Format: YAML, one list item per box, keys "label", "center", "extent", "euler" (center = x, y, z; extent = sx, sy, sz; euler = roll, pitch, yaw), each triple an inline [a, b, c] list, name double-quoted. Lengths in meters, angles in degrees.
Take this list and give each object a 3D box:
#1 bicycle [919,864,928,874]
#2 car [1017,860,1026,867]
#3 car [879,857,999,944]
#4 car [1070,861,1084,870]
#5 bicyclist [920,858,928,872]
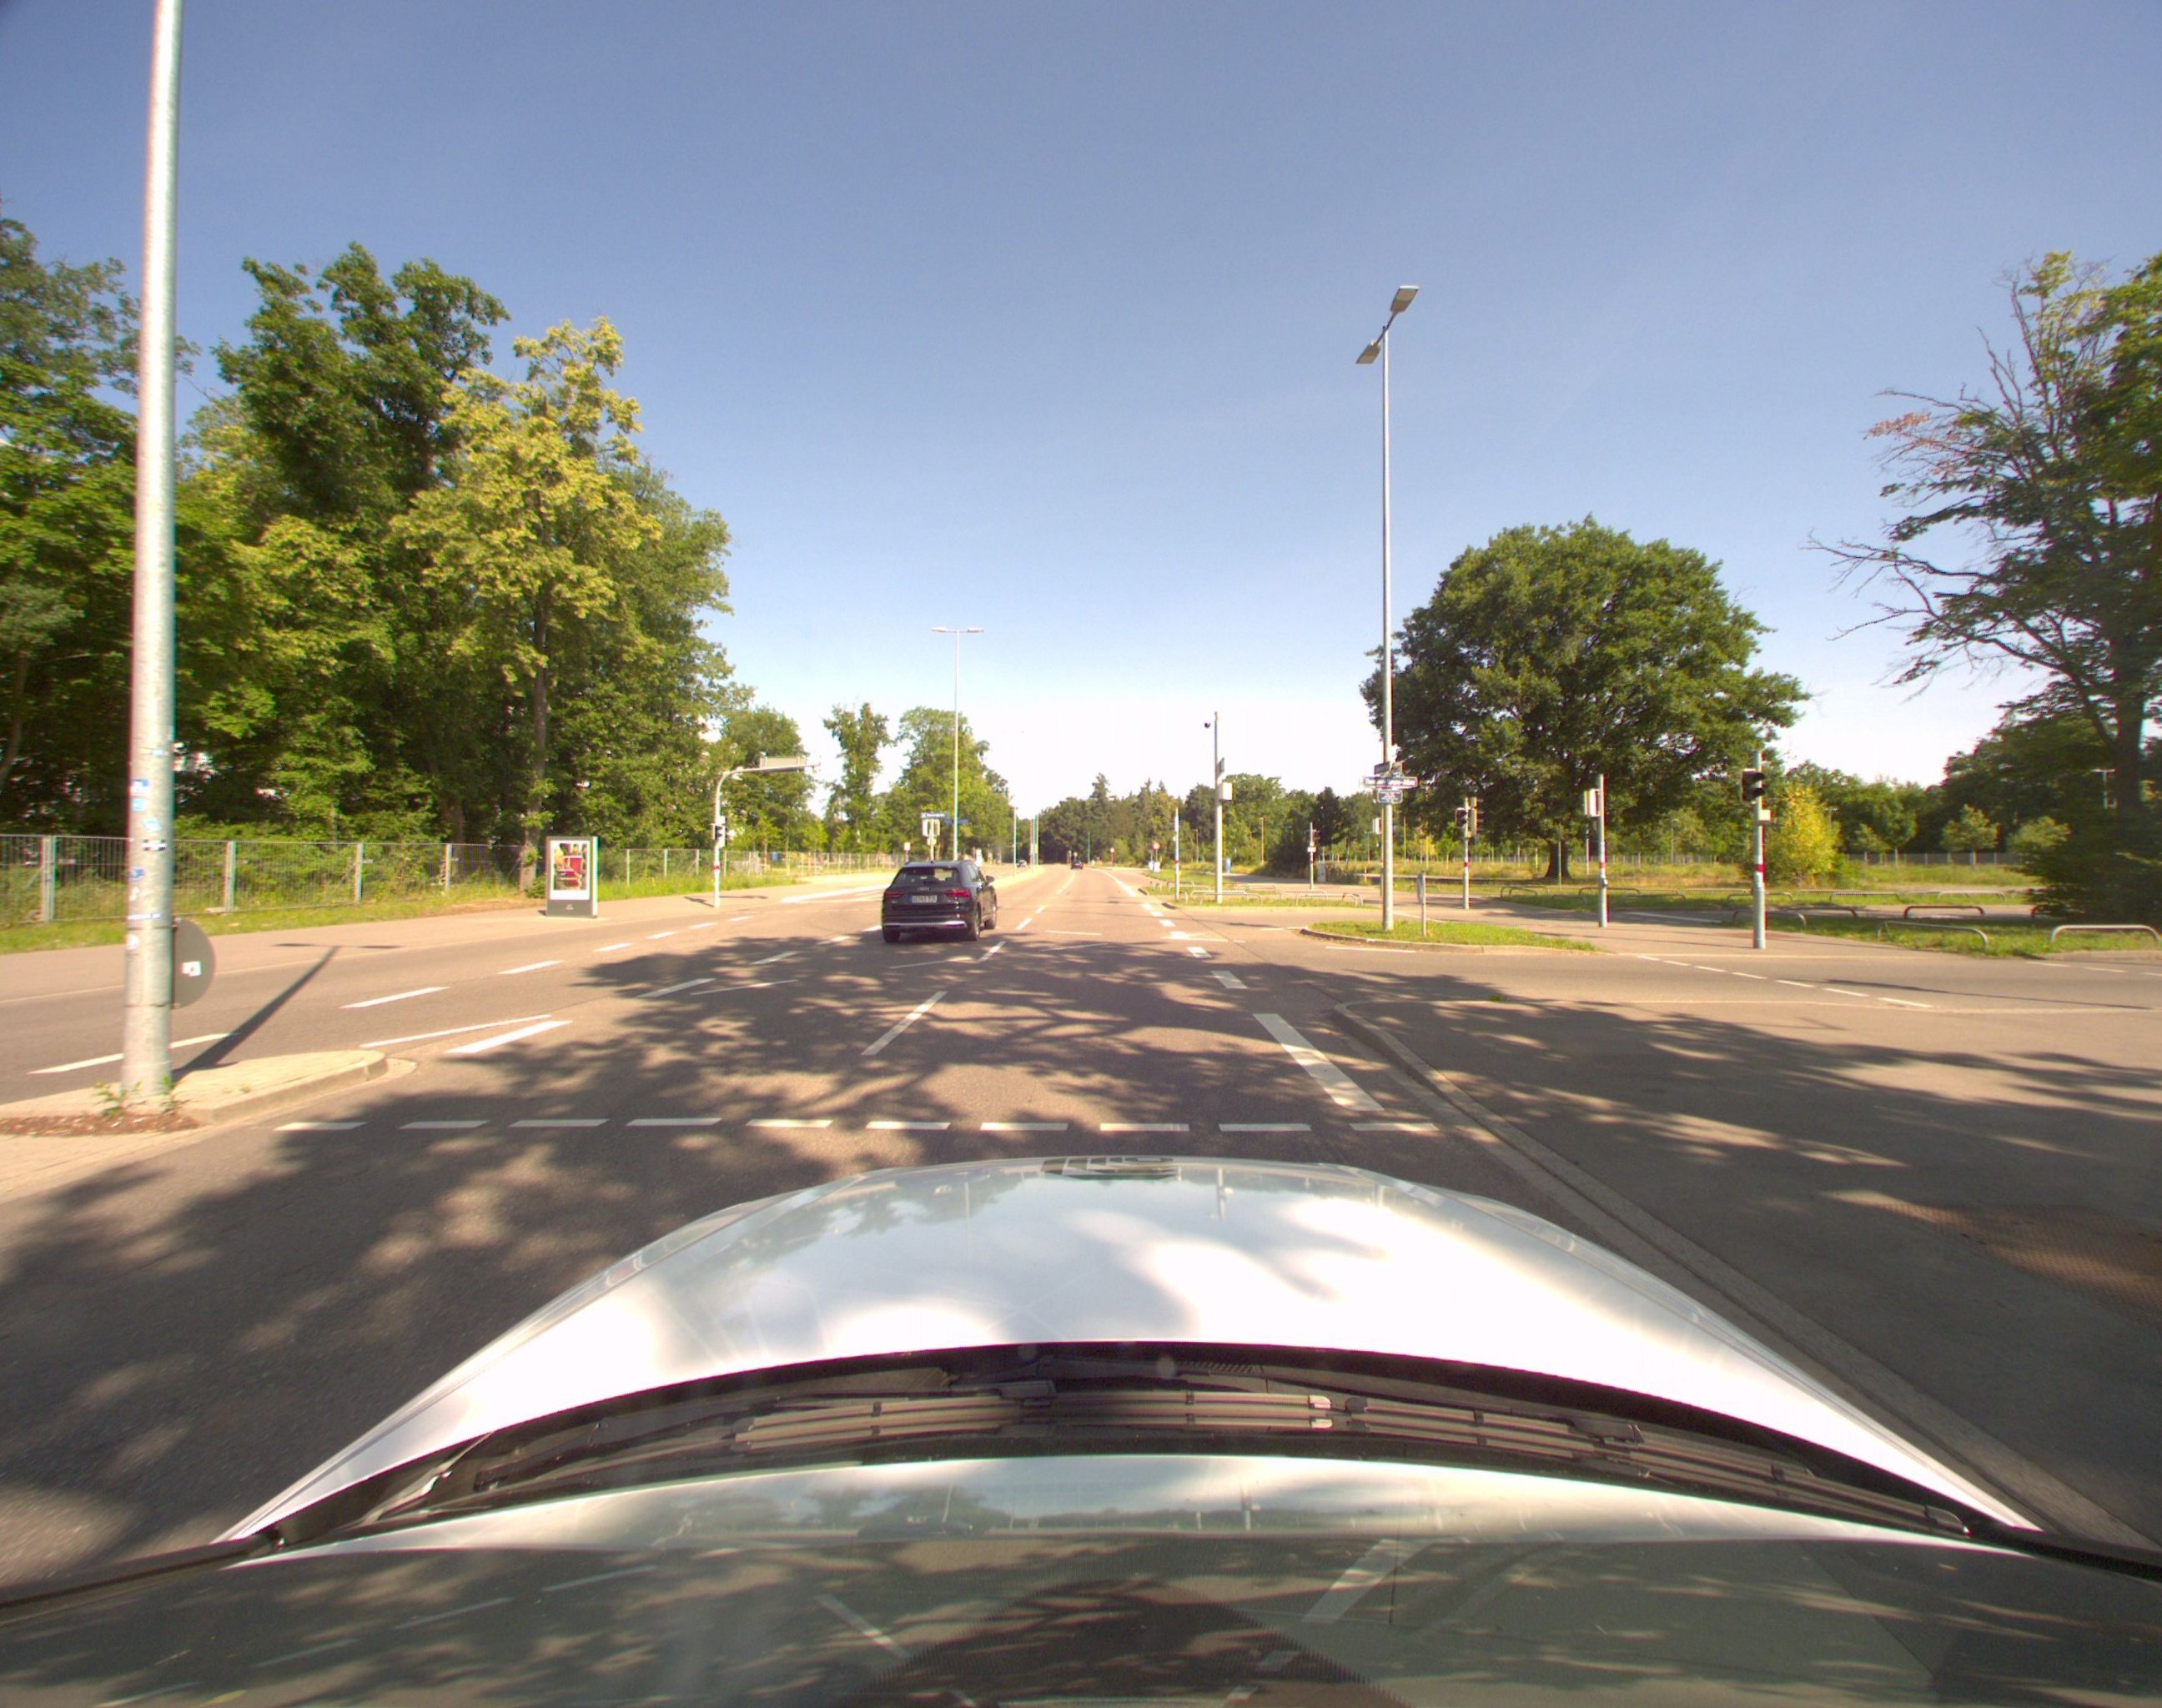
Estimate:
- label: "bicycle"
  center: [-17.488, 1.662, 90.550]
  extent: [0.658, 1.136, 1.877]
  euler: [1, 0, -1]
- label: "car"
  center: [-13.192, 2.133, 180.671]
  extent: [1.809, 1.388, 4.151]
  euler: [-2, 0, -7]
- label: "car"
  center: [-2.777, 0.853, 16.806]
  extent: [1.682, 1.544, 4.149]
  euler: [-1, 0, 1]
- label: "car"
  center: [-0.593, 1.803, 126.338]
  extent: [1.937, 1.420, 4.287]
  euler: [0, 0, -3]
- label: "bicyclist"
  center: [-17.462, 1.206, 90.583]
  extent: [0.658, 1.467, 1.057]
  euler: [1, -1, -1]
